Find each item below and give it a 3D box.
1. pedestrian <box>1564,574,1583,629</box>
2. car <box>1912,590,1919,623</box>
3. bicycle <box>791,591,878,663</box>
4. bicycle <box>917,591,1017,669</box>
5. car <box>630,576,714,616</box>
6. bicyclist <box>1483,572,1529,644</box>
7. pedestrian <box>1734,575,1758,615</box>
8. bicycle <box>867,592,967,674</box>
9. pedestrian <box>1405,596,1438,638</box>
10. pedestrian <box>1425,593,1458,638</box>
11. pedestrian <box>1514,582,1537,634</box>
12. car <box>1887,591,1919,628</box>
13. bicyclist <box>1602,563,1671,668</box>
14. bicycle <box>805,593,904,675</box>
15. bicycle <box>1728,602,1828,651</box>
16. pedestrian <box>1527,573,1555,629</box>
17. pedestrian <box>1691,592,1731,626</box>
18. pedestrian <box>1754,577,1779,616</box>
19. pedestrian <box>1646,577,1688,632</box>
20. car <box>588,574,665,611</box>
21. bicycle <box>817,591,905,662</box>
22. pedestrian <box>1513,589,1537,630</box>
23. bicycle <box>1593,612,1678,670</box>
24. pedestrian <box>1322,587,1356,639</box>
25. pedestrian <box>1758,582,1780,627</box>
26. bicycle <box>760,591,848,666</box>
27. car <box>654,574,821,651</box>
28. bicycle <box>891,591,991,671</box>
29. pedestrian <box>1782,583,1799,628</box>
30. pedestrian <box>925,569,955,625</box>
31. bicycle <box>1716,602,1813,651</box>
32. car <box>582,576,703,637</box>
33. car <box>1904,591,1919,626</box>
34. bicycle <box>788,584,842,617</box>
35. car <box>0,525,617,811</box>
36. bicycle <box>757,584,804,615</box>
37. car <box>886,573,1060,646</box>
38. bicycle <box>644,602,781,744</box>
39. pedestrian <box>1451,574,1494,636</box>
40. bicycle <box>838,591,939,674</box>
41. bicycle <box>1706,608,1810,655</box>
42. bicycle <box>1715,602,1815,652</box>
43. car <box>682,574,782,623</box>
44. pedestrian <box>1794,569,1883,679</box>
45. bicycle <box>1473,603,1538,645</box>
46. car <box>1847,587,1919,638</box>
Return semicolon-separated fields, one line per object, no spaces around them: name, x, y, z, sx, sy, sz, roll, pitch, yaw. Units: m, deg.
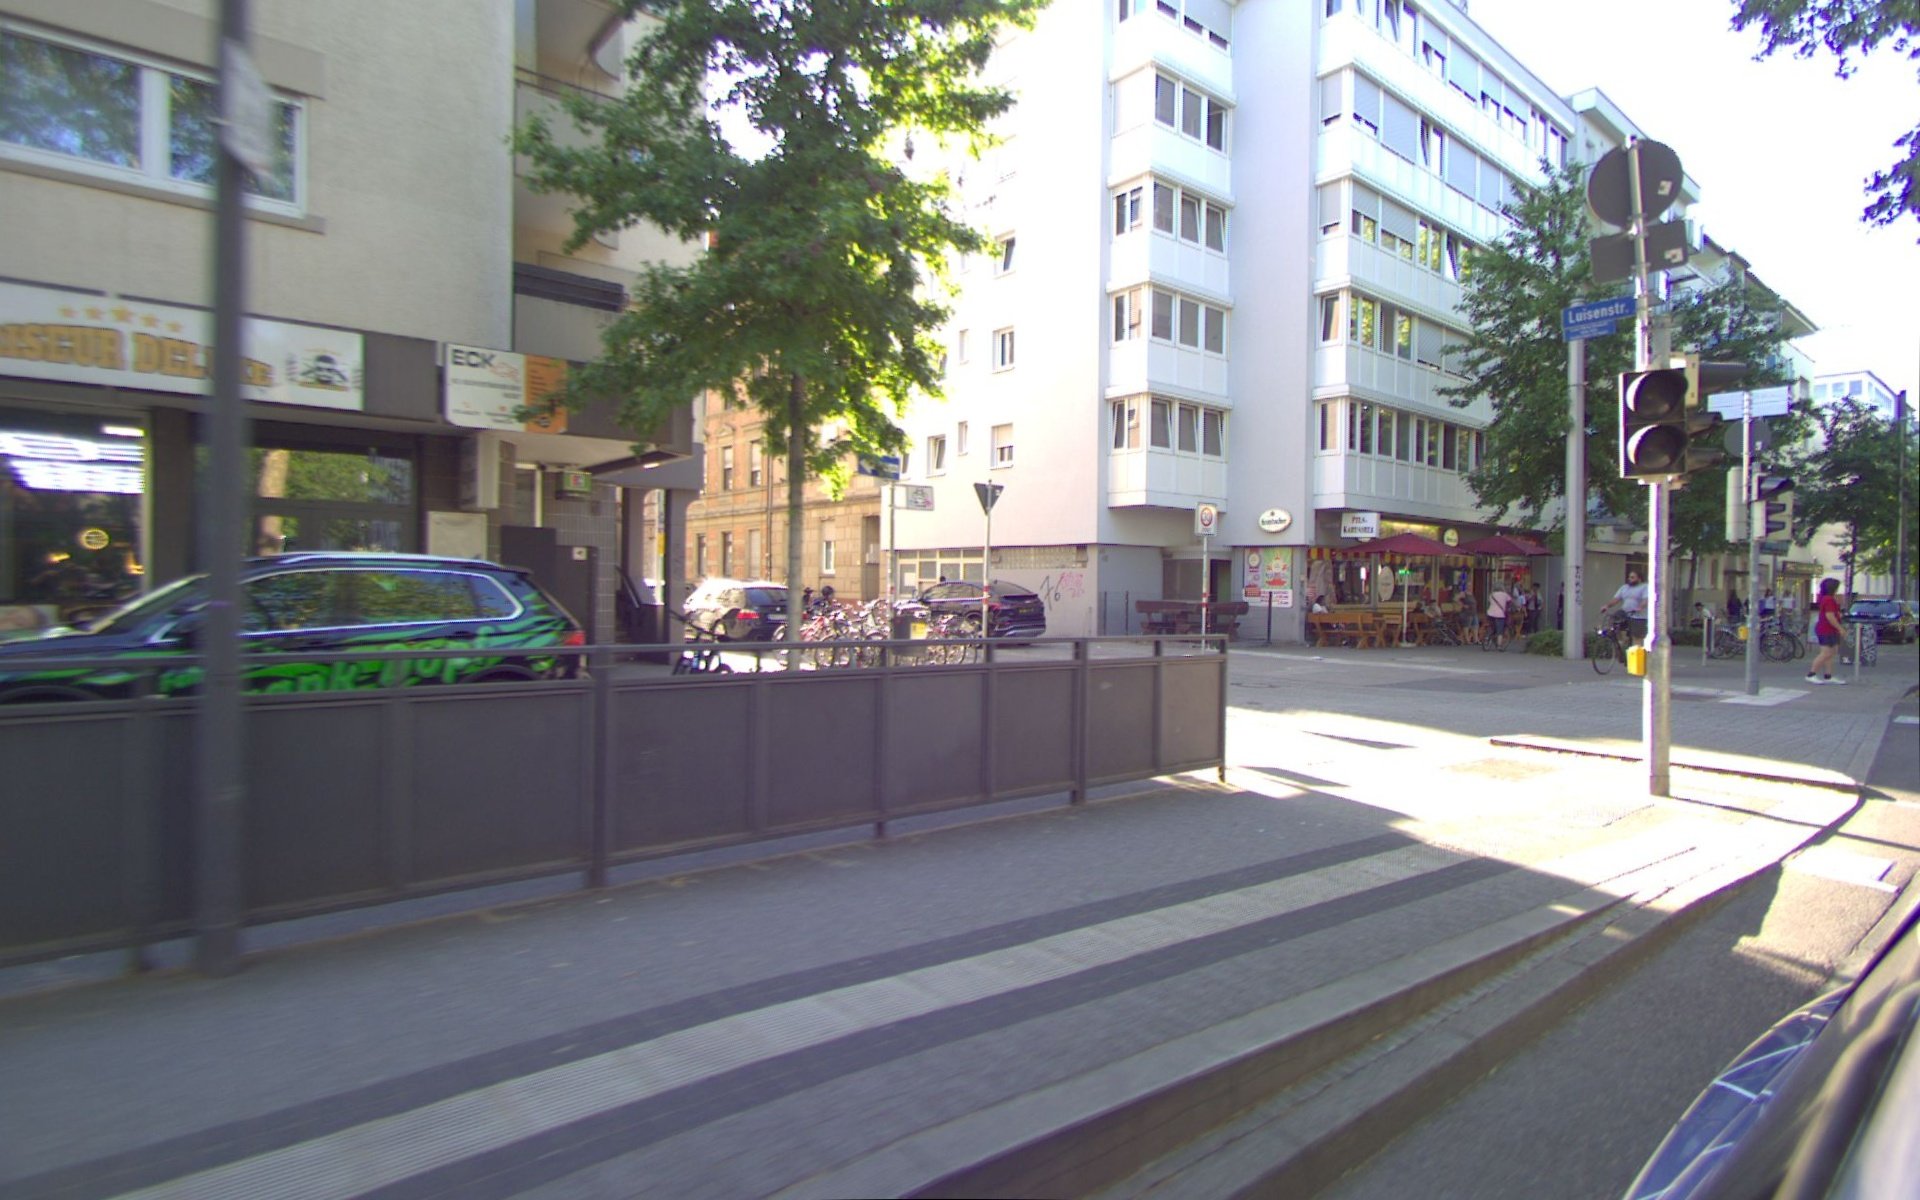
pedestrian;20.570;0.048;33.925;0.481;1.819;0.432;0;0;-41
car;47.370;0.362;48.707;4.055;1.555;1.790;0;3;-41
bicycle;-2.253;0.457;17.996;0.502;1.223;1.916;0;0;-43
bicycle;0.094;0.481;17.193;0.502;1.223;1.916;1;1;-43
car;-11.082;-0.160;38.767;1.829;1.436;3.999;-1;1;-36
bicyclist;13.536;0.188;25.094;0.947;1.739;0.678;0;0;-38
pedestrian;34.076;-0.207;43.872;0.919;1.698;0.597;0;3;-42
bicycle;-0.727;0.504;16.506;0.502;1.223;1.916;1;1;-43
pedestrian;12.142;0.442;26.608;0.513;1.092;0.642;0;0;-42
pedestrian;12.945;0.404;27.192;0.513;1.190;0.659;0;0;-42
pedestrian;17.959;0.254;32.159;0.500;1.649;0.516;0;0;12
car;41.445;0.406;43.804;3.824;1.500;1.625;0;3;-43
bicyclist;12.394;0.269;18.536;1.079;1.854;0.768;0;0;-40
bicycle;-1.699;0.505;15.987;0.502;1.223;1.916;0;0;-43
bicycle;19.790;0.621;24.518;0.516;1.114;1.819;0;1;-40
pedestrian;19.311;0.024;33.635;0.620;1.828;0.526;0;0;3
pedestrian;23.585;0.277;31.803;0.996;1.040;0.652;0;0;37
pedestrian;34.530;-0.158;43.349;0.855;1.658;0.643;0;2;-42
pedestrian;23.807;0.146;34.100;0.979;1.806;0.590;0;0;11
car;-14.113;-0.334;42.716;1.963;1.469;3.999;-1;1;-36
bicycle;-1.823;0.460;18.418;0.502;1.223;1.916;2;-1;-43
pedestrian;17.982;0.291;32.234;0.501;1.292;0.624;0;0;13
bicycle;12.385;0.724;18.526;1.905;0.949;0.790;-1;0;-40
pedestrian;9.784;0.319;26.094;0.702;1.303;0.536;0;0;-39
pedestrian;34.200;0.193;42.776;0.530;1.875;0.663;0;0;-41
bicycle;-2.727;0.467;17.547;0.502;1.223;1.916;-1;1;-43
car;-5.161;0.228;23.015;1.837;1.496;4.597;3;0;-39
bicycle;-0.342;0.483;16.865;0.502;1.223;1.916;1;1;-43
pedestrian;34.842;0.214;42.456;0.653;1.875;0.476;0;0;-43
pedestrian;-0.566;-0.094;29.069;0.633;1.581;0.553;-1;1;-36
bicycle;19.309;0.620;24.317;1.814;1.114;0.474;0;0;43
car;-8.617;0.146;27.307;1.678;1.528;3.993;-1;1;-41
car;44.344;0.387;46.211;2.831;1.556;1.447;0;3;-41
bicycle;-5.140;0.005;35.856;0.756;1.134;2.386;-1;0;-40
car;-5.055;0.369;7.477;4.366;1.636;1.997;-1;1;-40
bicycle;-6.709;-0.026;37.762;0.607;1.134;2.386;0;0;-40
car;0.236;0.176;24.659;1.933;1.612;4.256;-2;2;-40
bicycle;-2.443;0.632;9.797;0.667;1.202;2.135;0;0;-31
pedestrian;13.995;0.129;27.641;0.665;1.680;0.816;0;0;-22
bicycle;-1.171;0.485;16.186;0.502;1.223;1.916;1;1;-43
bicycle;18.182;0.706;23.086;0.473;1.007;1.818;0;0;-42
bicycle;18.908;0.608;23.794;1.814;1.114;0.490;0;0;43
car;-7.827;-0.096;34.534;1.928;1.575;3.999;-1;2;-36
pedestrian;14.756;0.382;17.033;1.041;1.780;0.867;0;0;36
bicycle;13.538;0.566;25.110;1.985;0.975;0.678;-1;0;-38
car;33.428;0.383;36.314;4.253;1.606;1.763;-1;5;-41
